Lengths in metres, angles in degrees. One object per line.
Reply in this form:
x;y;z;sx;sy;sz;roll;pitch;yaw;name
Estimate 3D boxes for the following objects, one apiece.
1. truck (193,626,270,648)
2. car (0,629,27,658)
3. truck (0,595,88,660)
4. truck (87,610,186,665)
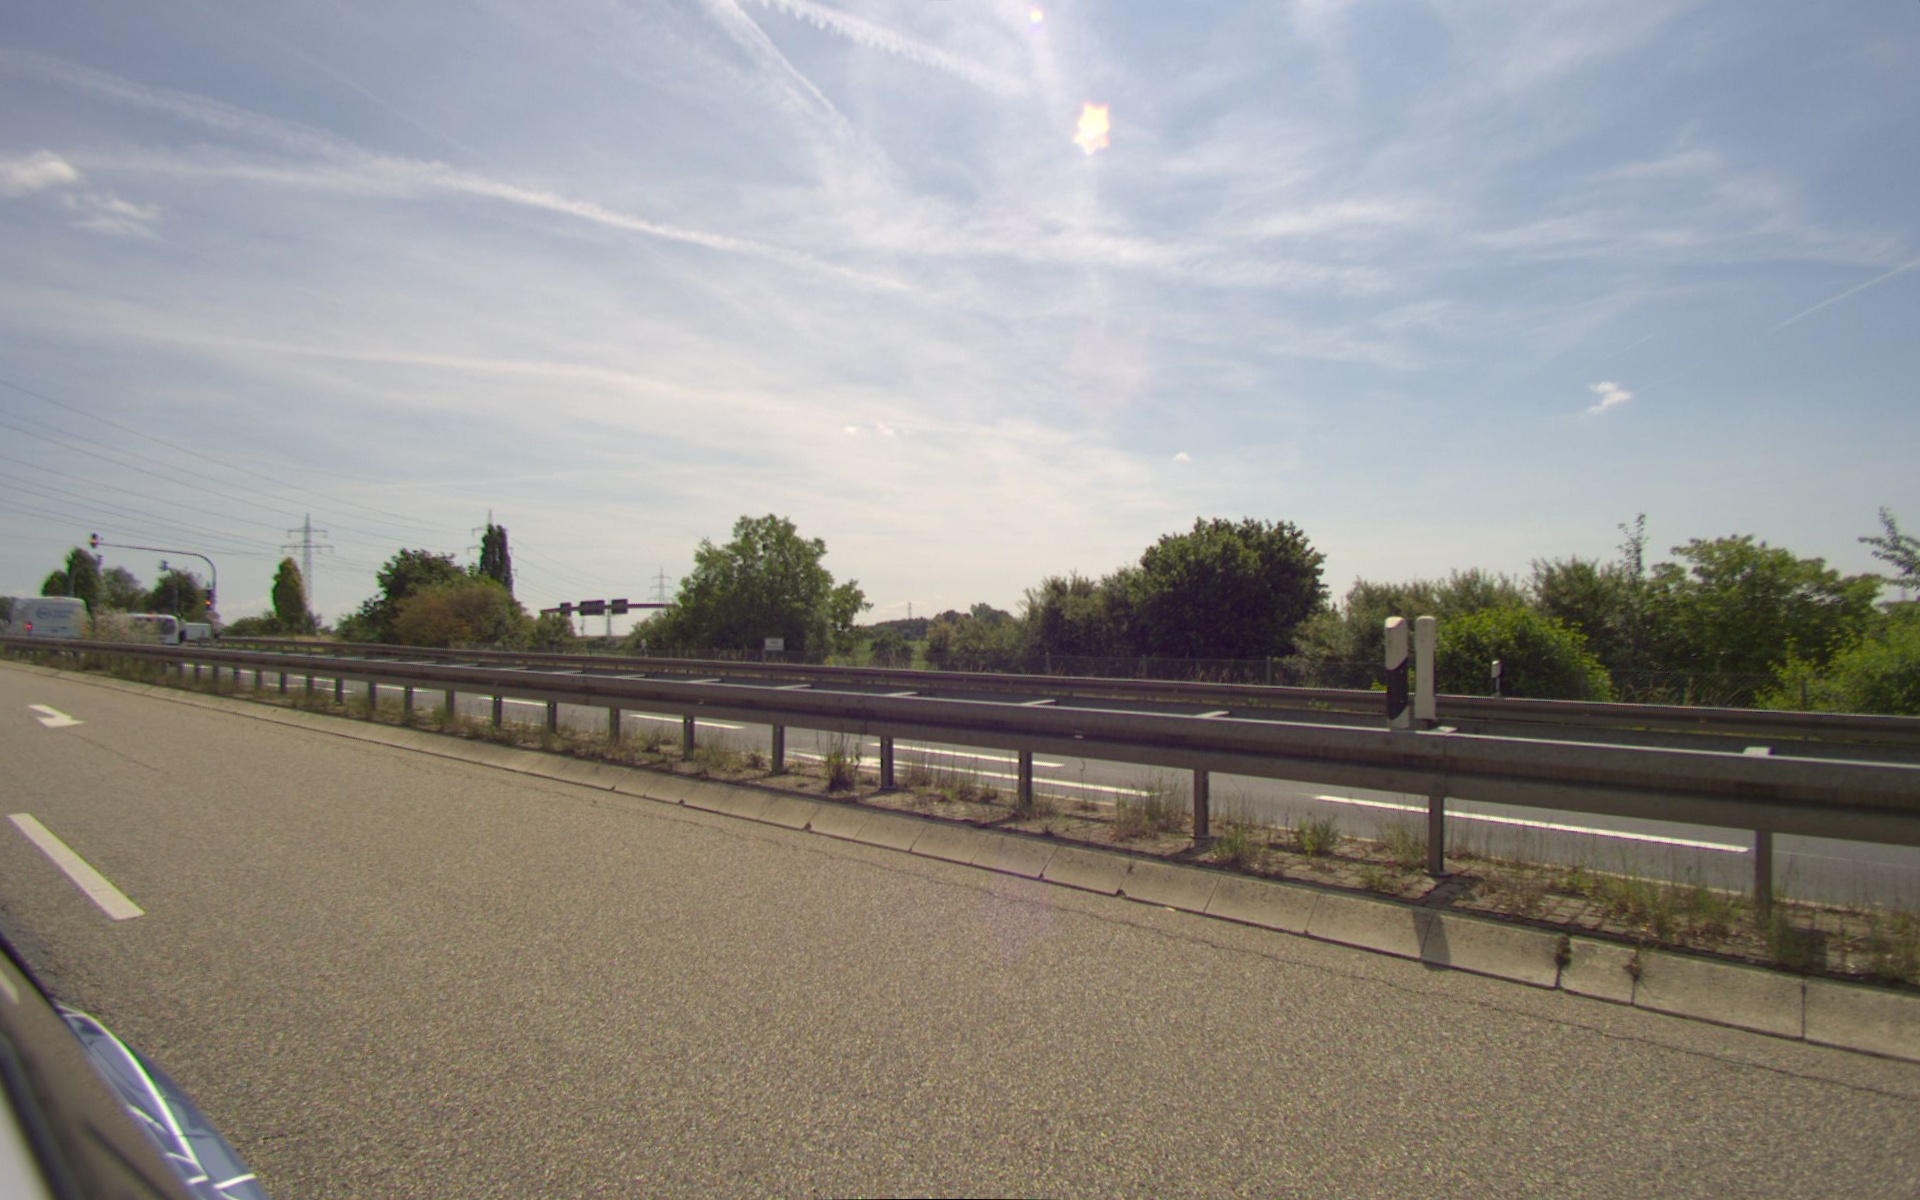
-65.617;3.357;91.230;1.991;1.770;5.231;0;-3;28;truck
-49.227;2.197;51.612;4.189;1.480;1.739;-1;-2;38;car
-40.727;1.241;44.832;6.013;2.641;2.020;-1;-4;39;truck
-28.760;1.283;35.292;4.535;1.762;1.830;0;-4;41;truck
